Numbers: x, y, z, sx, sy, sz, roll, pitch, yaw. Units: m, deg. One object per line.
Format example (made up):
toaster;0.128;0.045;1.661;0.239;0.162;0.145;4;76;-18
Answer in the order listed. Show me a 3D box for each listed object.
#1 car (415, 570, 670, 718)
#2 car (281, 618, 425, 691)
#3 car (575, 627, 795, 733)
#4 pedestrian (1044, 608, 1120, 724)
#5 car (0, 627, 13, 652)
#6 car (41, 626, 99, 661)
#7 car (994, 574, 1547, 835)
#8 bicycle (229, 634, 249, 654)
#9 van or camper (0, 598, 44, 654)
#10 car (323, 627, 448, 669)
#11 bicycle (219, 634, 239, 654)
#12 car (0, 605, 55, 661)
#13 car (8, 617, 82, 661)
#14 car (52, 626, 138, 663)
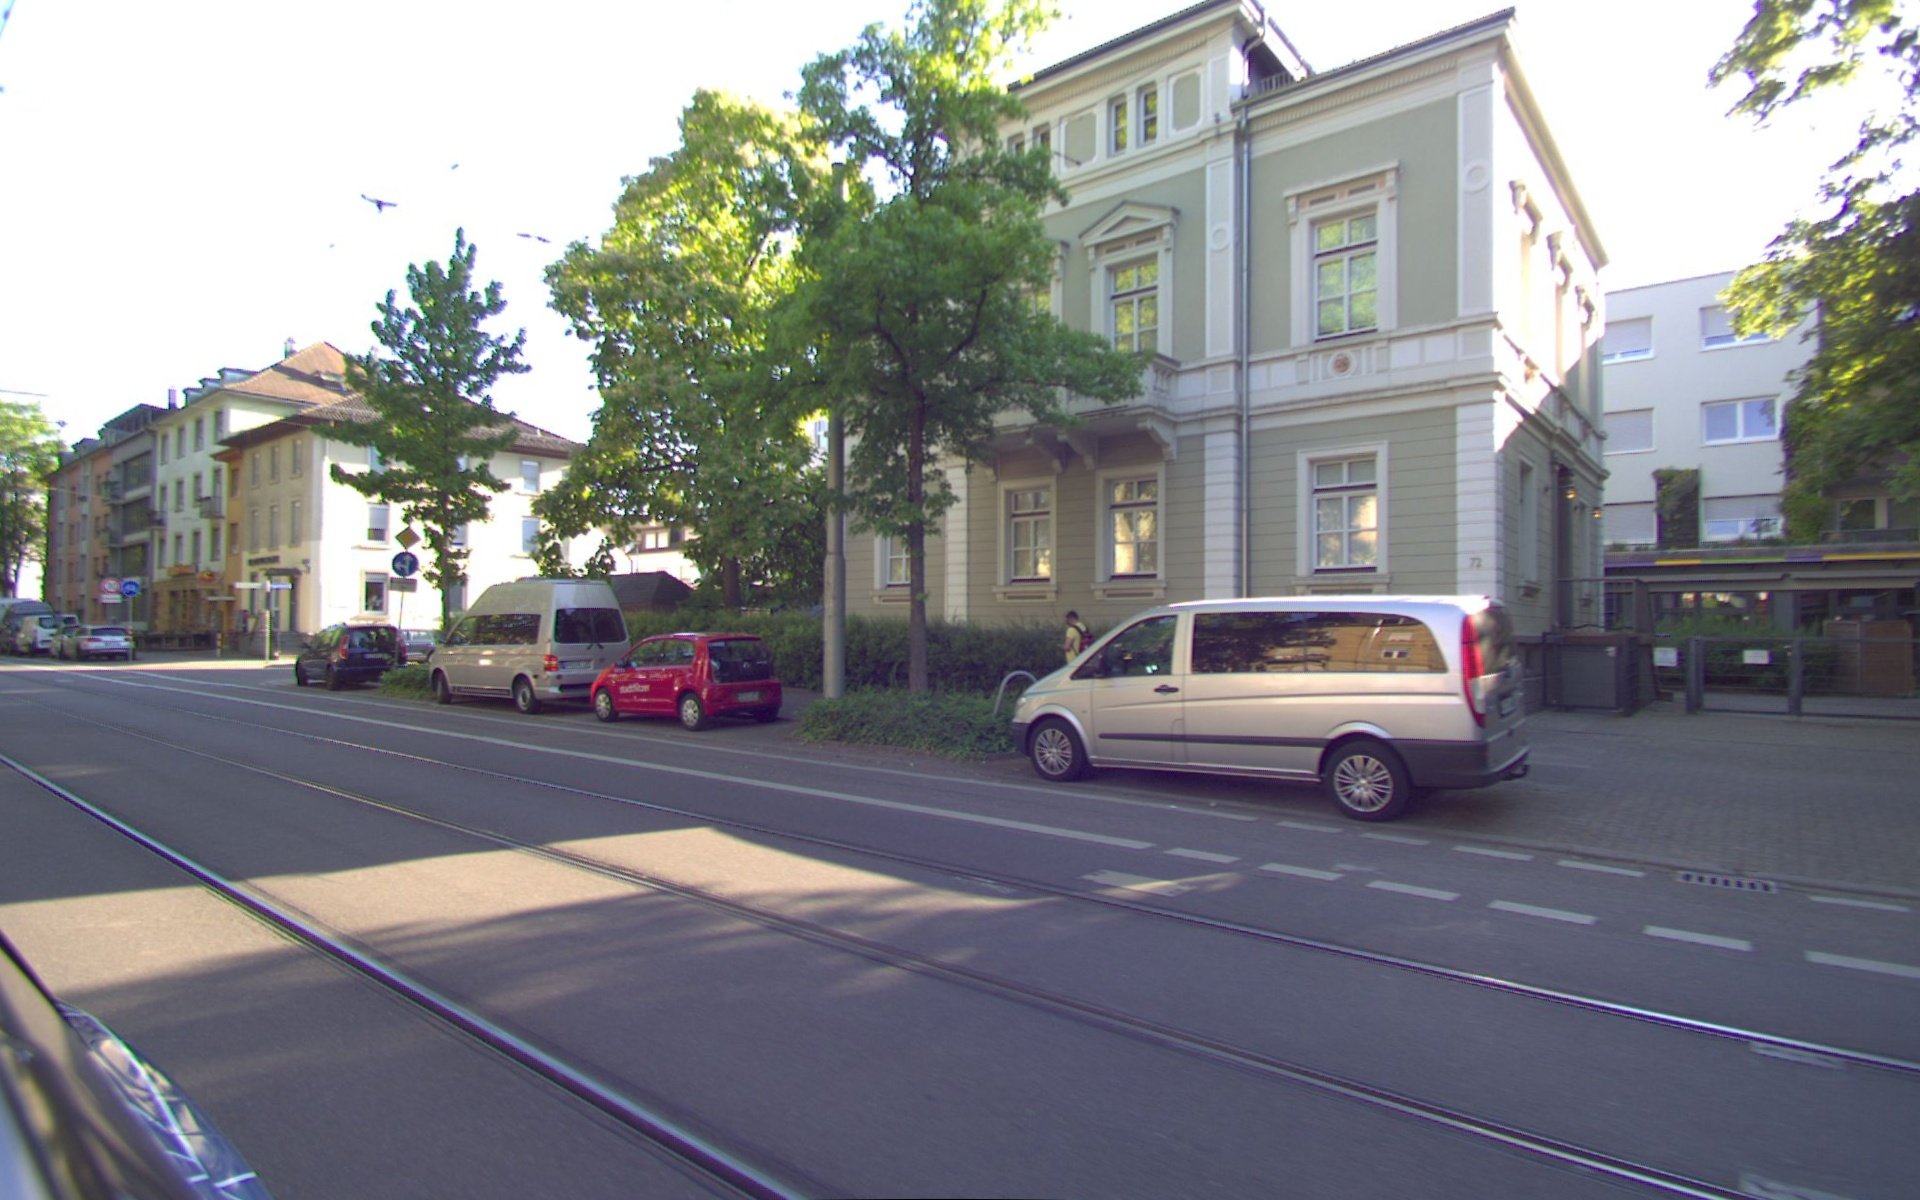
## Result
car;-8.296;0.828;19.902;5.336;2.527;2.282;-1;-3;38
car;-15.512;1.350;25.776;4.260;1.703;1.971;-1;-3;42
car;-4.592;1.231;16.719;3.704;1.551;1.668;-1;-3;39
pedestrian;1.811;0.958;15.108;0.947;1.674;0.598;-1;-2;41
car;-59.496;2.410;61.919;3.469;1.526;1.769;-1;-2;39
car;-40.309;1.952;45.841;2.880;1.504;1.555;-1;-2;40
car;2.852;0.877;10.126;4.985;2.004;1.824;-1;-3;41
bicycle;-34.630;2.119;48.605;1.646;0.935;0.358;-1;-3;40
van or camper;-54.574;1.475;57.919;5.987;2.999;2.393;-1;1;41
car;-23.481;1.955;41.473;1.966;1.630;4.017;-1;-3;43
bicycle;-35.900;2.148;49.699;1.646;0.935;0.358;-1;-3;40
car;-49.604;1.729;53.540;4.543;2.767;1.903;-1;1;40
car;-44.828;1.872;49.557;4.935;2.062;1.904;-1;-2;39
car;-36.745;1.848;42.933;4.933;1.504;1.754;-1;-2;37
